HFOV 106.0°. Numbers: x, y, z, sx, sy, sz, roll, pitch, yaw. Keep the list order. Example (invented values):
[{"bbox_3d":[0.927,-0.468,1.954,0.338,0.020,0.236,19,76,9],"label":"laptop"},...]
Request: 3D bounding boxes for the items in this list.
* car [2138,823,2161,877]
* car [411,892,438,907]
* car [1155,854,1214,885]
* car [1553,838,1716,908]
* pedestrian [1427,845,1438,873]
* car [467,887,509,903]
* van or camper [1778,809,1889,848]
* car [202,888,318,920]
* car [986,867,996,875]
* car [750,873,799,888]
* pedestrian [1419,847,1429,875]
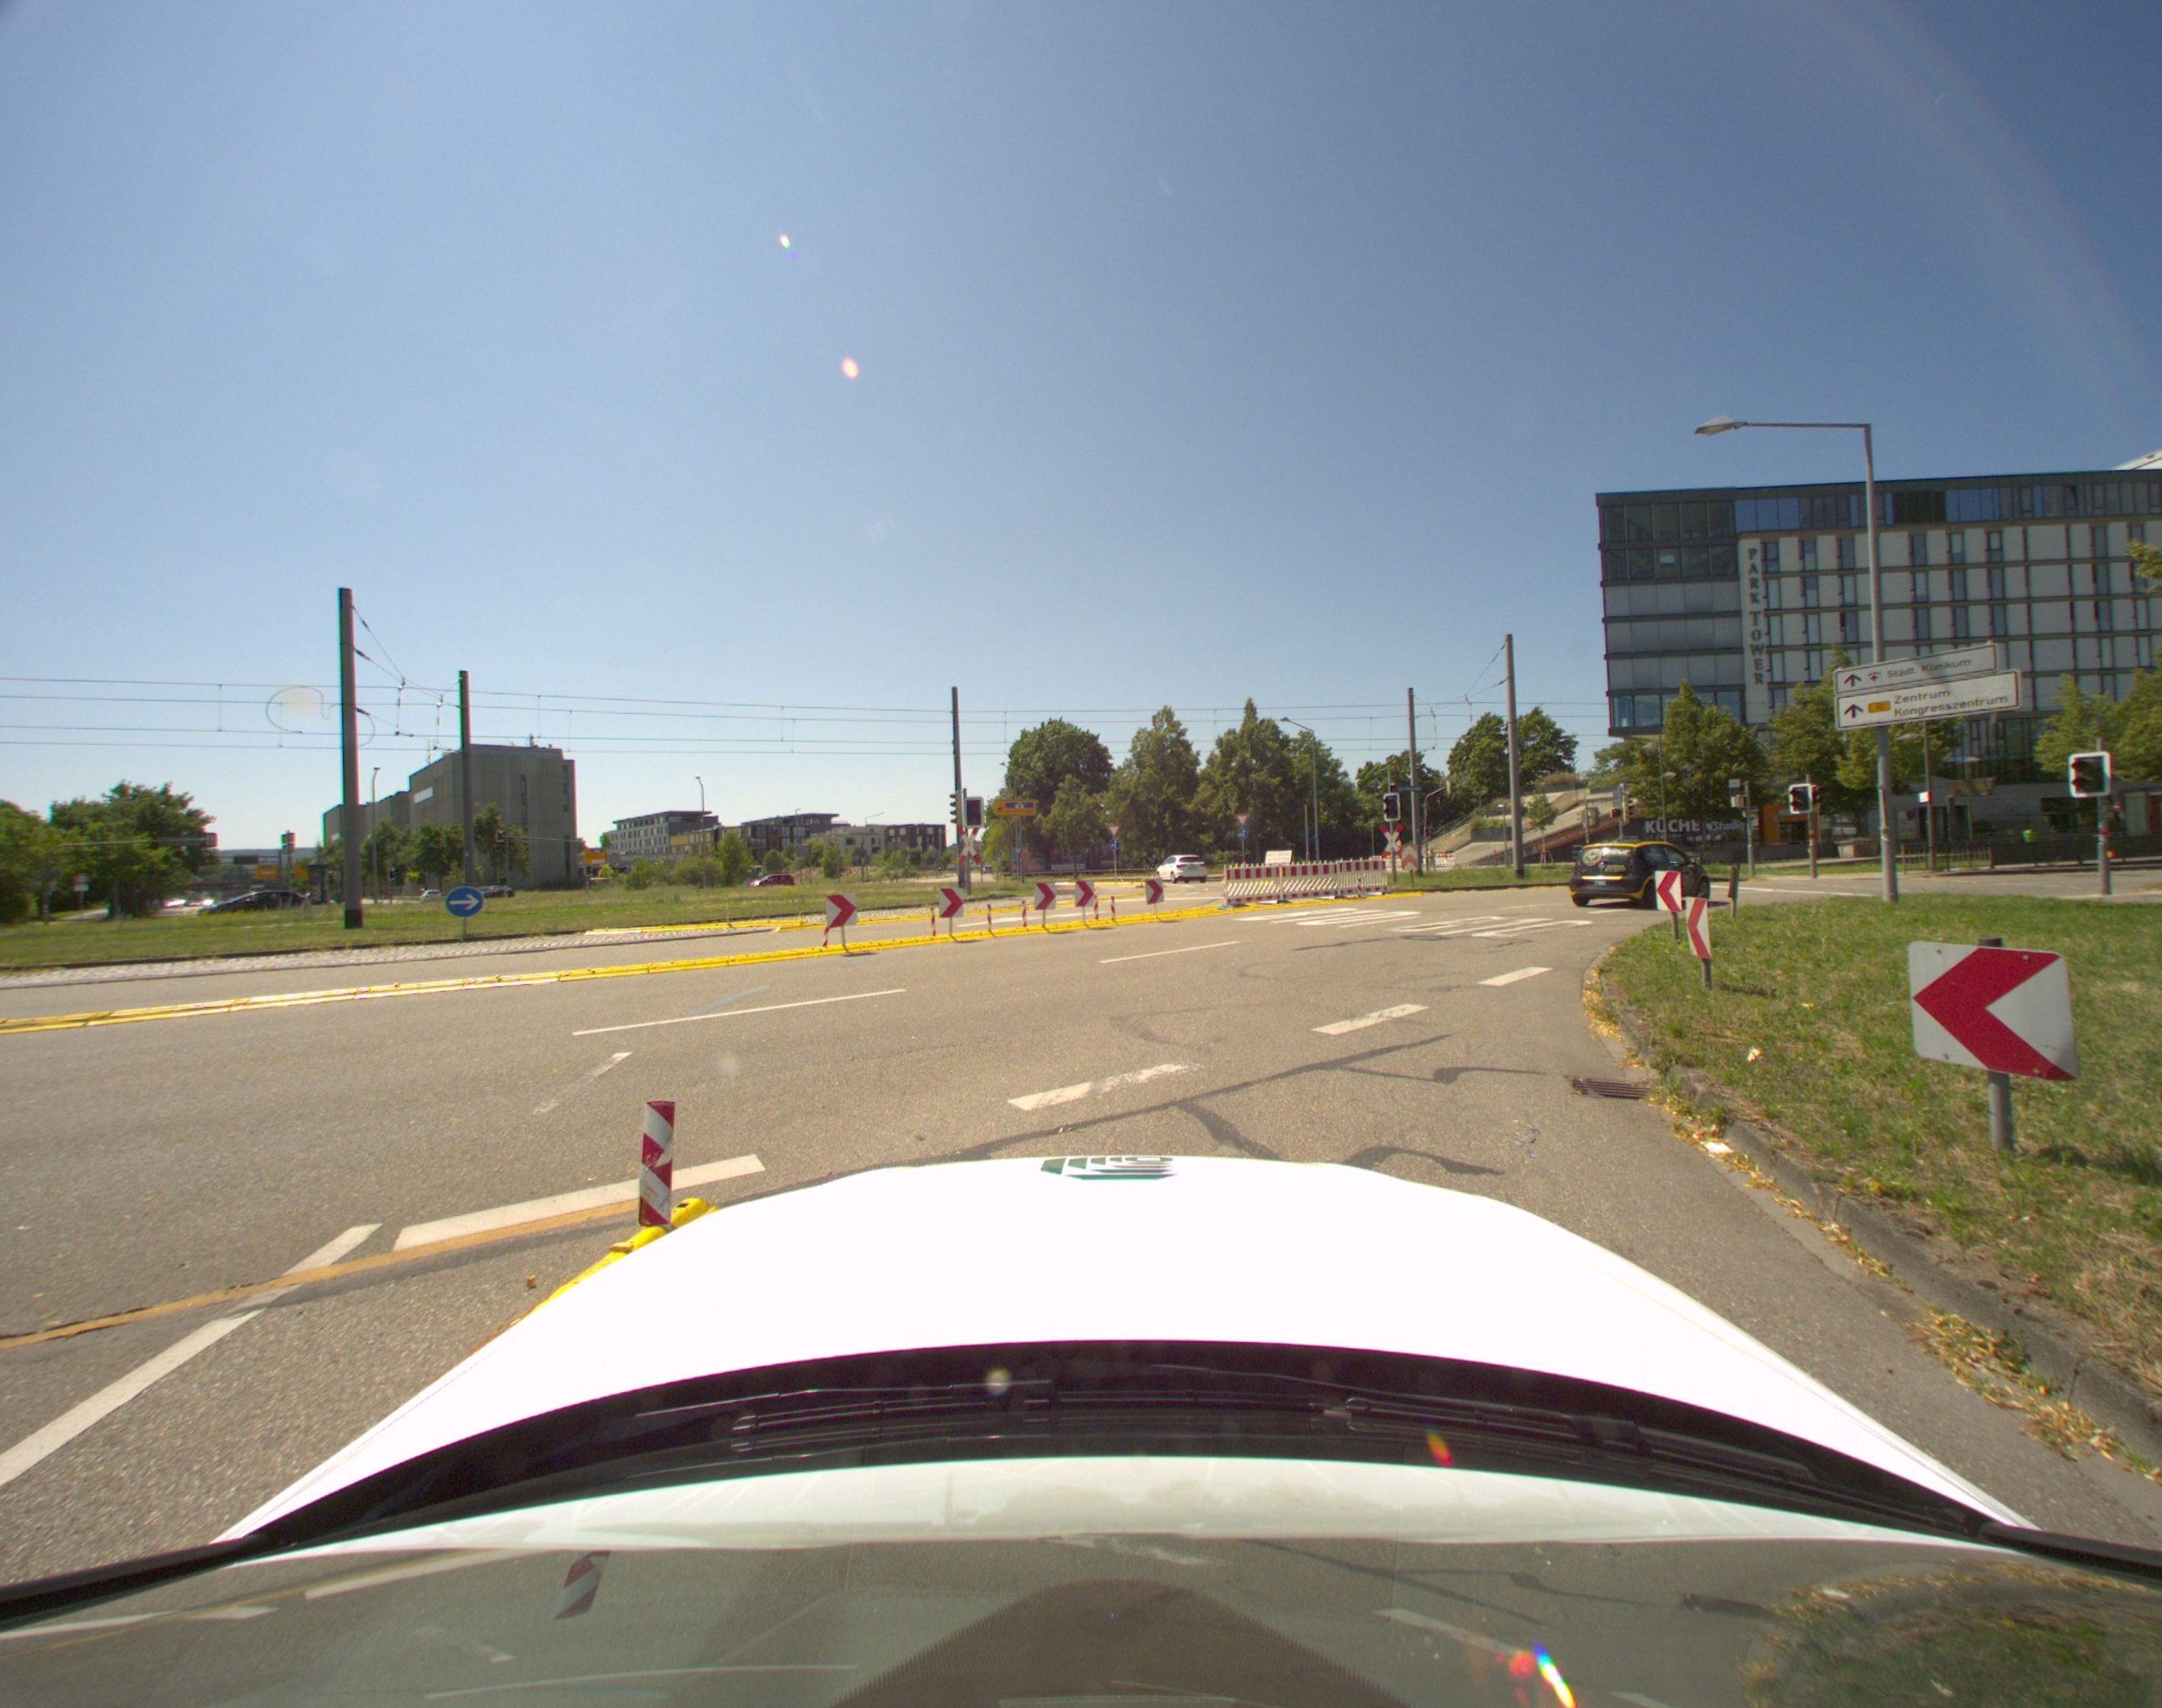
[{"bbox_3d":[31.606,-0.161,21.495,4.615,1.449,2.002,-1,-1,3],"label":"car"},{"bbox_3d":[-75.771,5.206,93.989,2.011,1.618,3.950,0,-2,-44],"label":"car"},{"bbox_3d":[5.396,0.801,43.105,1.992,1.486,4.355,-2,0,-8],"label":"car"},{"bbox_3d":[12.685,0.389,18.622,4.001,1.451,1.607,-1,-1,-32],"label":"car"},{"bbox_3d":[22.041,0.310,51.053,0.446,1.739,0.318,-2,-1,0],"label":"pedestrian"},{"bbox_3d":[-46.276,3.200,63.525,3.431,1.192,1.565,-2,0,34],"label":"car"},{"bbox_3d":[59.747,-2.028,64.728,6.747,2.822,2.381,-2,-1,-2],"label":"van or camper"},{"bbox_3d":[-44.119,2.657,43.843,1.707,1.461,4.074,-3,-1,32],"label":"car"},{"bbox_3d":[-17.037,3.174,153.621,1.654,1.372,3.029,-2,-1,-3],"label":"car"},{"bbox_3d":[-25.657,2.180,68.162,3.538,1.089,1.480,-2,0,-39],"label":"car"},{"bbox_3d":[21.495,0.436,51.063,0.446,1.739,0.291,-2,-1,-1],"label":"pedestrian"}]
